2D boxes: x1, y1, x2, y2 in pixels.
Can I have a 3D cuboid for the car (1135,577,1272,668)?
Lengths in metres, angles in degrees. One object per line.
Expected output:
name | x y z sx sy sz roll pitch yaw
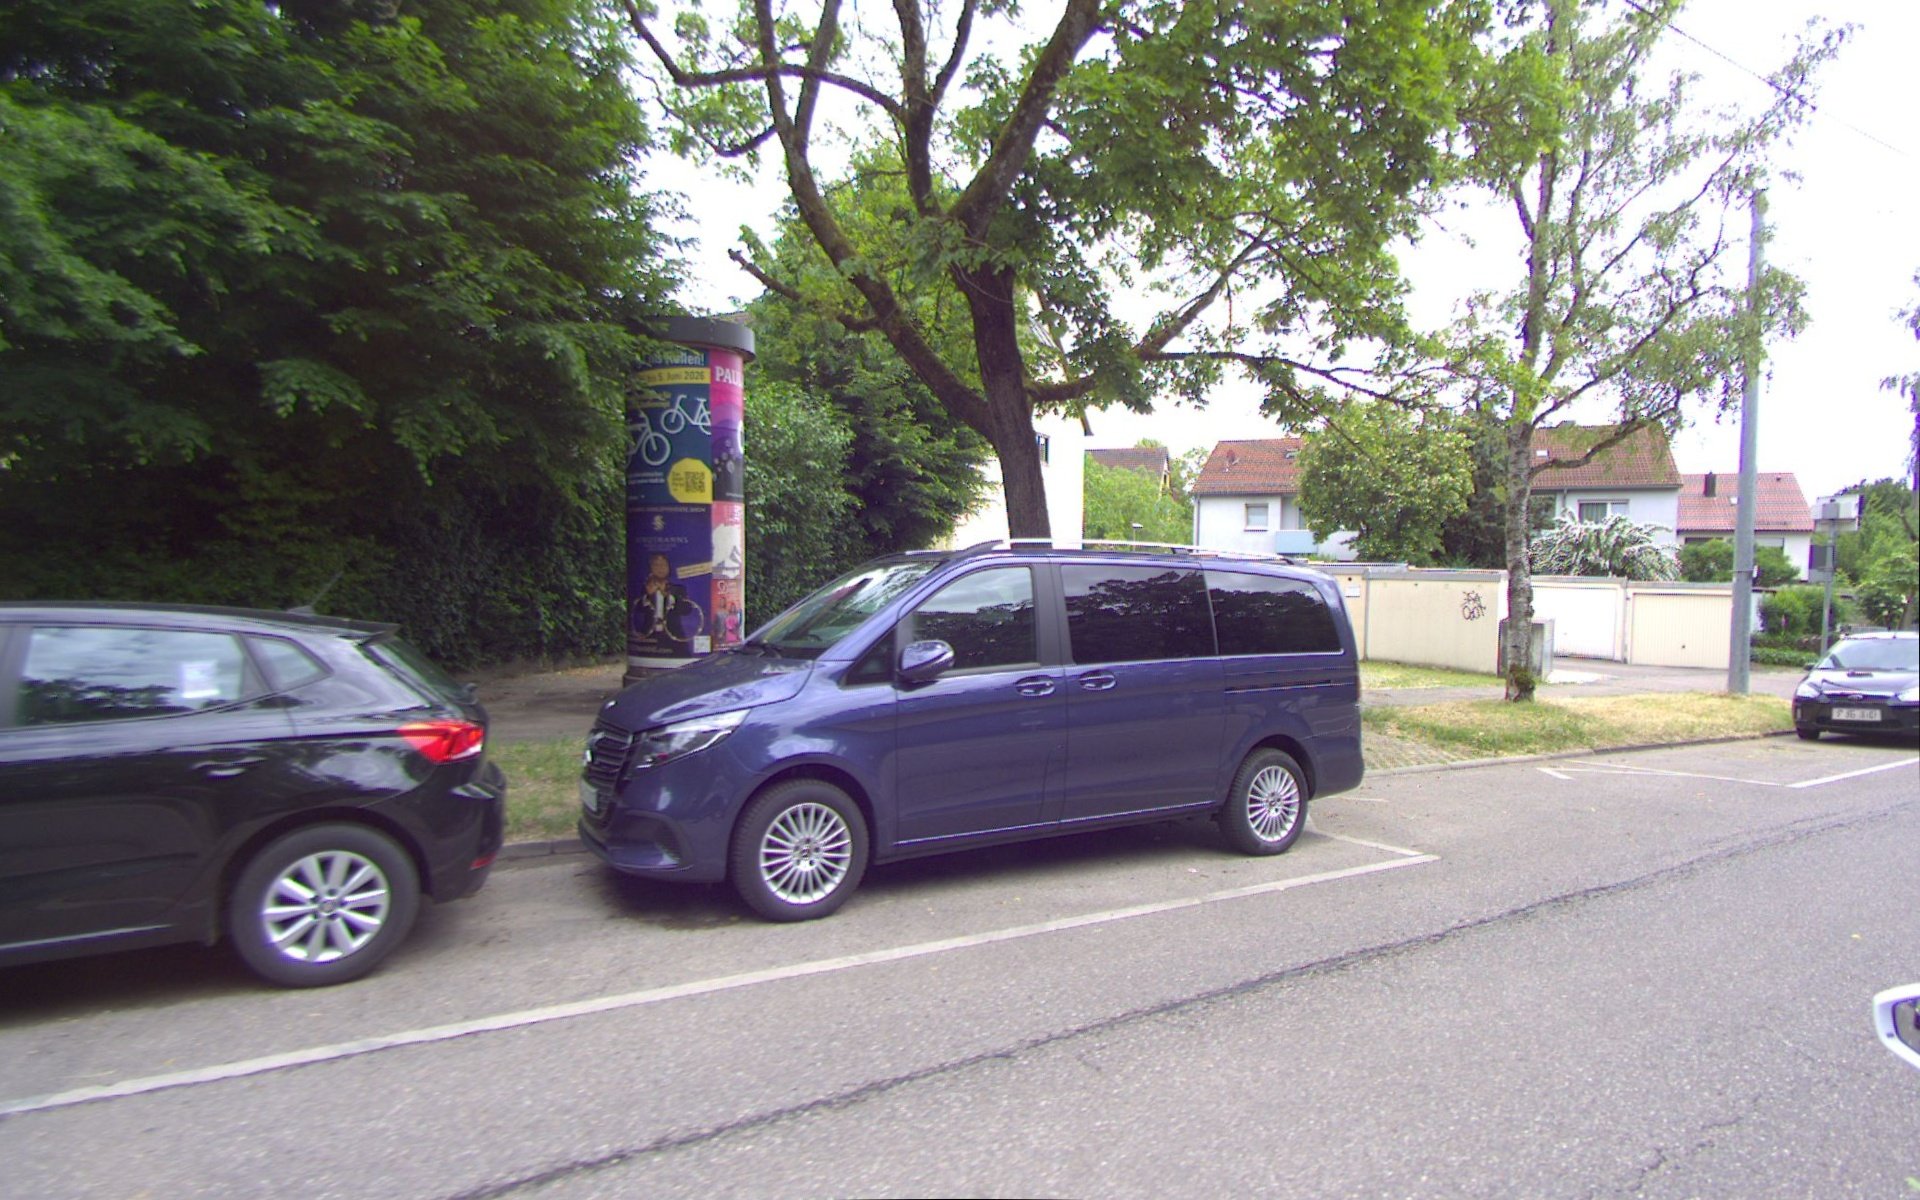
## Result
car | 5.557 0.393 22.495 1.963 1.672 4.398 6 4 26

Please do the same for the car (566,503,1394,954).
car | 0.321 0.604 6.387 5.024 1.934 1.849 2 0 -31

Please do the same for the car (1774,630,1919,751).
car | 14.008 1.272 14.988 4.224 1.583 1.793 2 -3 -35

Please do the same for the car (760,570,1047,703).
car | -0.676 0.458 14.291 1.753 1.497 3.971 7 4 40
